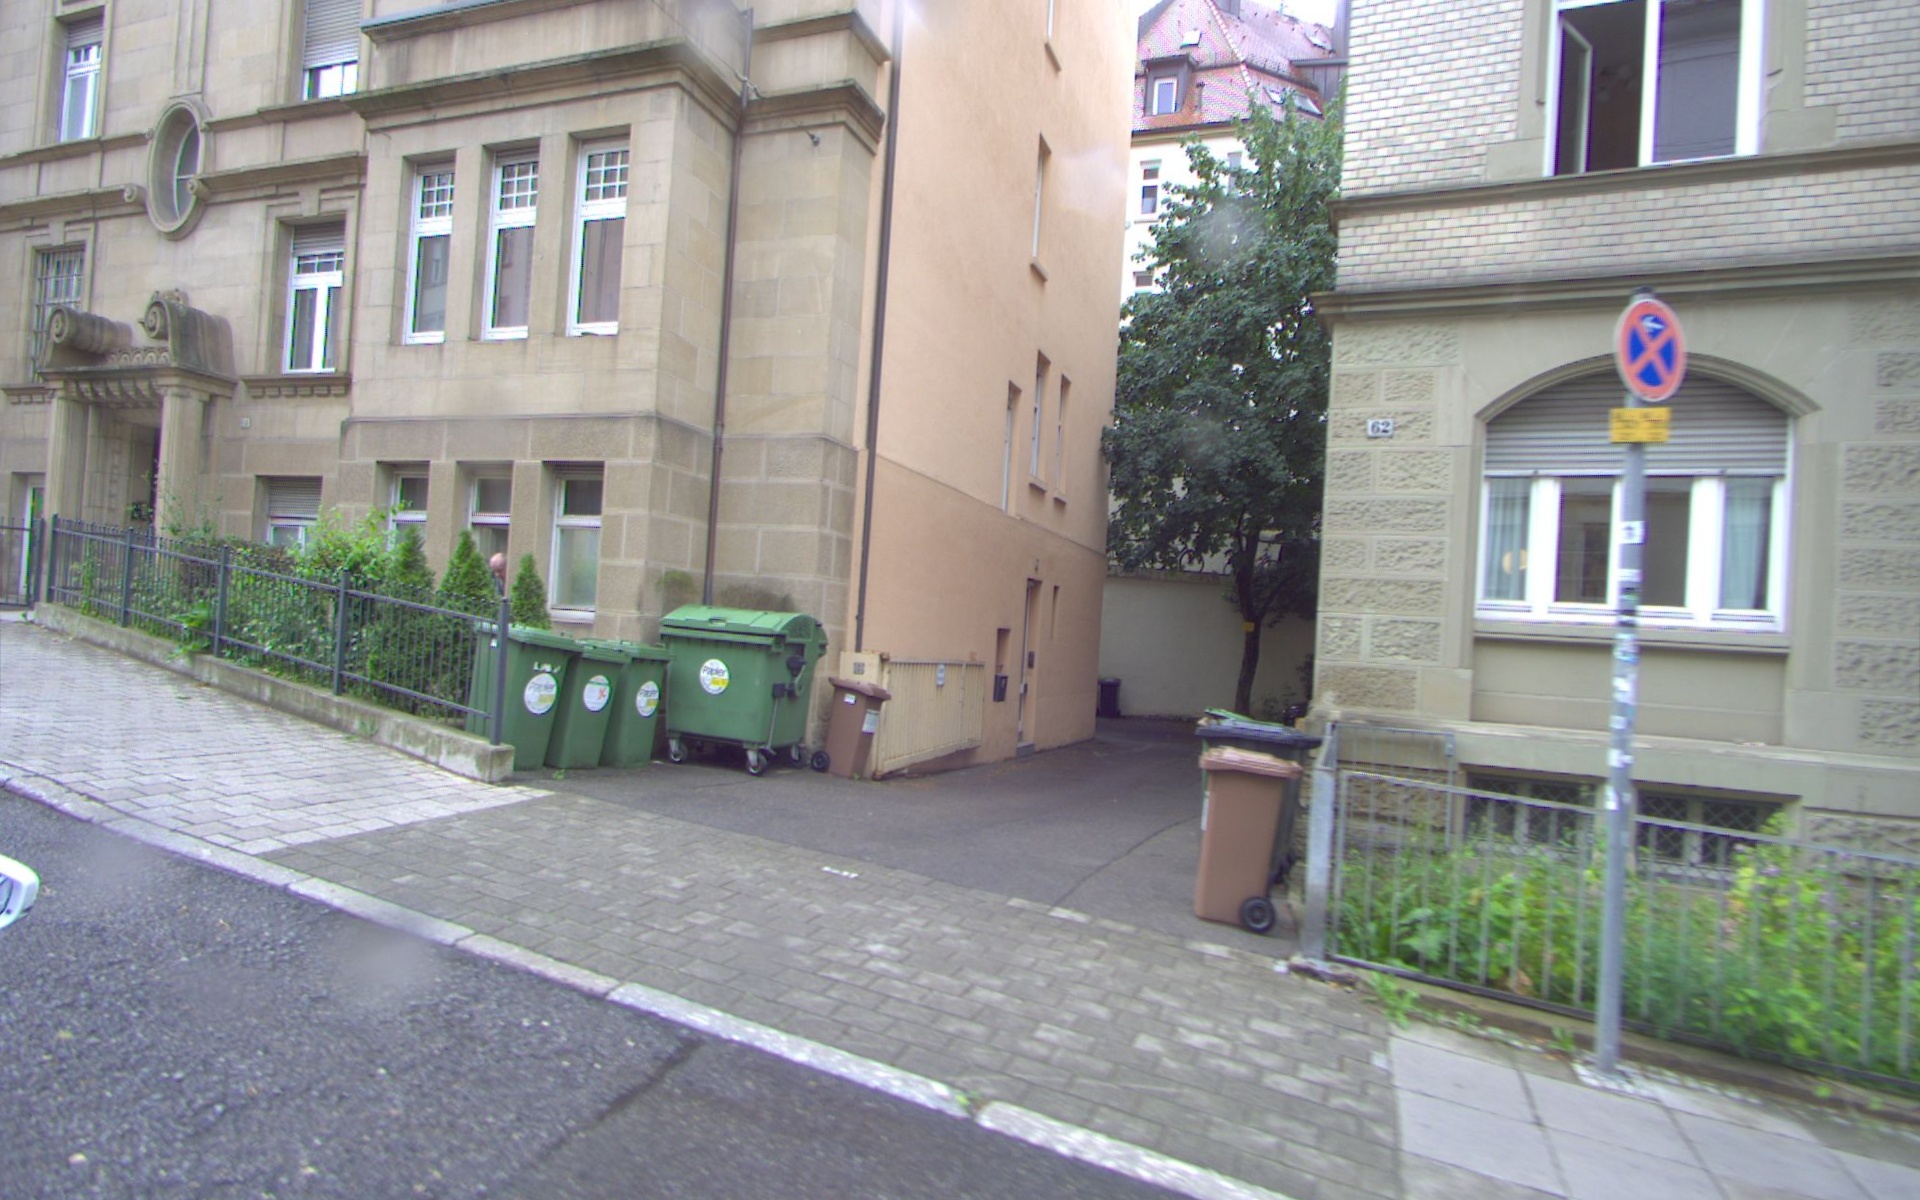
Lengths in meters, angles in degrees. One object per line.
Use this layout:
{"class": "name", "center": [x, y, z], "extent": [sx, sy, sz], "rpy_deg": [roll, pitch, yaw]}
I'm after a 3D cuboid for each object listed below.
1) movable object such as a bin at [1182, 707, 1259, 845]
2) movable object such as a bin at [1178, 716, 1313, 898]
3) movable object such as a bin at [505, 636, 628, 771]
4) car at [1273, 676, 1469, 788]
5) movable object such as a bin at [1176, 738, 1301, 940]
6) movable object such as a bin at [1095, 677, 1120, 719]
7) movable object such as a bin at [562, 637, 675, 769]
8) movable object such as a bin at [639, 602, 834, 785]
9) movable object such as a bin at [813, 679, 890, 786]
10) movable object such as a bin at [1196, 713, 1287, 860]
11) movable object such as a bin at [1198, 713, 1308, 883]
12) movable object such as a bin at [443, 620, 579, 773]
{"class": "movable object such as a bin", "center": [2.317, 1.540, 8.915], "extent": [0.469, 1.113, 0.521], "rpy_deg": [6, -4, 23]}
{"class": "movable object such as a bin", "center": [1.886, 1.334, 6.625], "extent": [0.653, 1.041, 0.529], "rpy_deg": [6, -4, 30]}
{"class": "movable object such as a bin", "center": [-3.145, 0.833, 8.072], "extent": [0.593, 0.978, 0.540], "rpy_deg": [6, -4, 20]}
{"class": "car", "center": [9.689, 3.038, 23.763], "extent": [3.930, 1.530, 1.796], "rpy_deg": [13, 5, 27]}
{"class": "movable object such as a bin", "center": [1.536, 1.283, 5.520], "extent": [0.527, 0.932, 0.427], "rpy_deg": [7, 2, 20]}
{"class": "movable object such as a bin", "center": [4.080, 2.693, 27.776], "extent": [0.532, 1.053, 0.563], "rpy_deg": [4, 4, 20]}
{"class": "movable object such as a bin", "center": [-2.935, 0.889, 8.681], "extent": [0.593, 1.036, 0.540], "rpy_deg": [6, -4, 20]}
{"class": "movable object such as a bin", "center": [-2.030, 0.855, 9.254], "extent": [1.256, 1.446, 0.976], "rpy_deg": [6, -4, 20]}
{"class": "movable object such as a bin", "center": [-1.043, 1.276, 9.750], "extent": [0.510, 0.952, 0.395], "rpy_deg": [6, -4, 20]}
{"class": "movable object such as a bin", "center": [2.293, 1.497, 8.182], "extent": [0.545, 1.072, 0.498], "rpy_deg": [6, -4, 23]}
{"class": "movable object such as a bin", "center": [2.108, 1.394, 7.210], "extent": [0.598, 1.072, 0.501], "rpy_deg": [6, -4, 23]}
{"class": "movable object such as a bin", "center": [-3.350, 0.725, 7.530], "extent": [0.593, 1.036, 0.540], "rpy_deg": [6, -4, 20]}
